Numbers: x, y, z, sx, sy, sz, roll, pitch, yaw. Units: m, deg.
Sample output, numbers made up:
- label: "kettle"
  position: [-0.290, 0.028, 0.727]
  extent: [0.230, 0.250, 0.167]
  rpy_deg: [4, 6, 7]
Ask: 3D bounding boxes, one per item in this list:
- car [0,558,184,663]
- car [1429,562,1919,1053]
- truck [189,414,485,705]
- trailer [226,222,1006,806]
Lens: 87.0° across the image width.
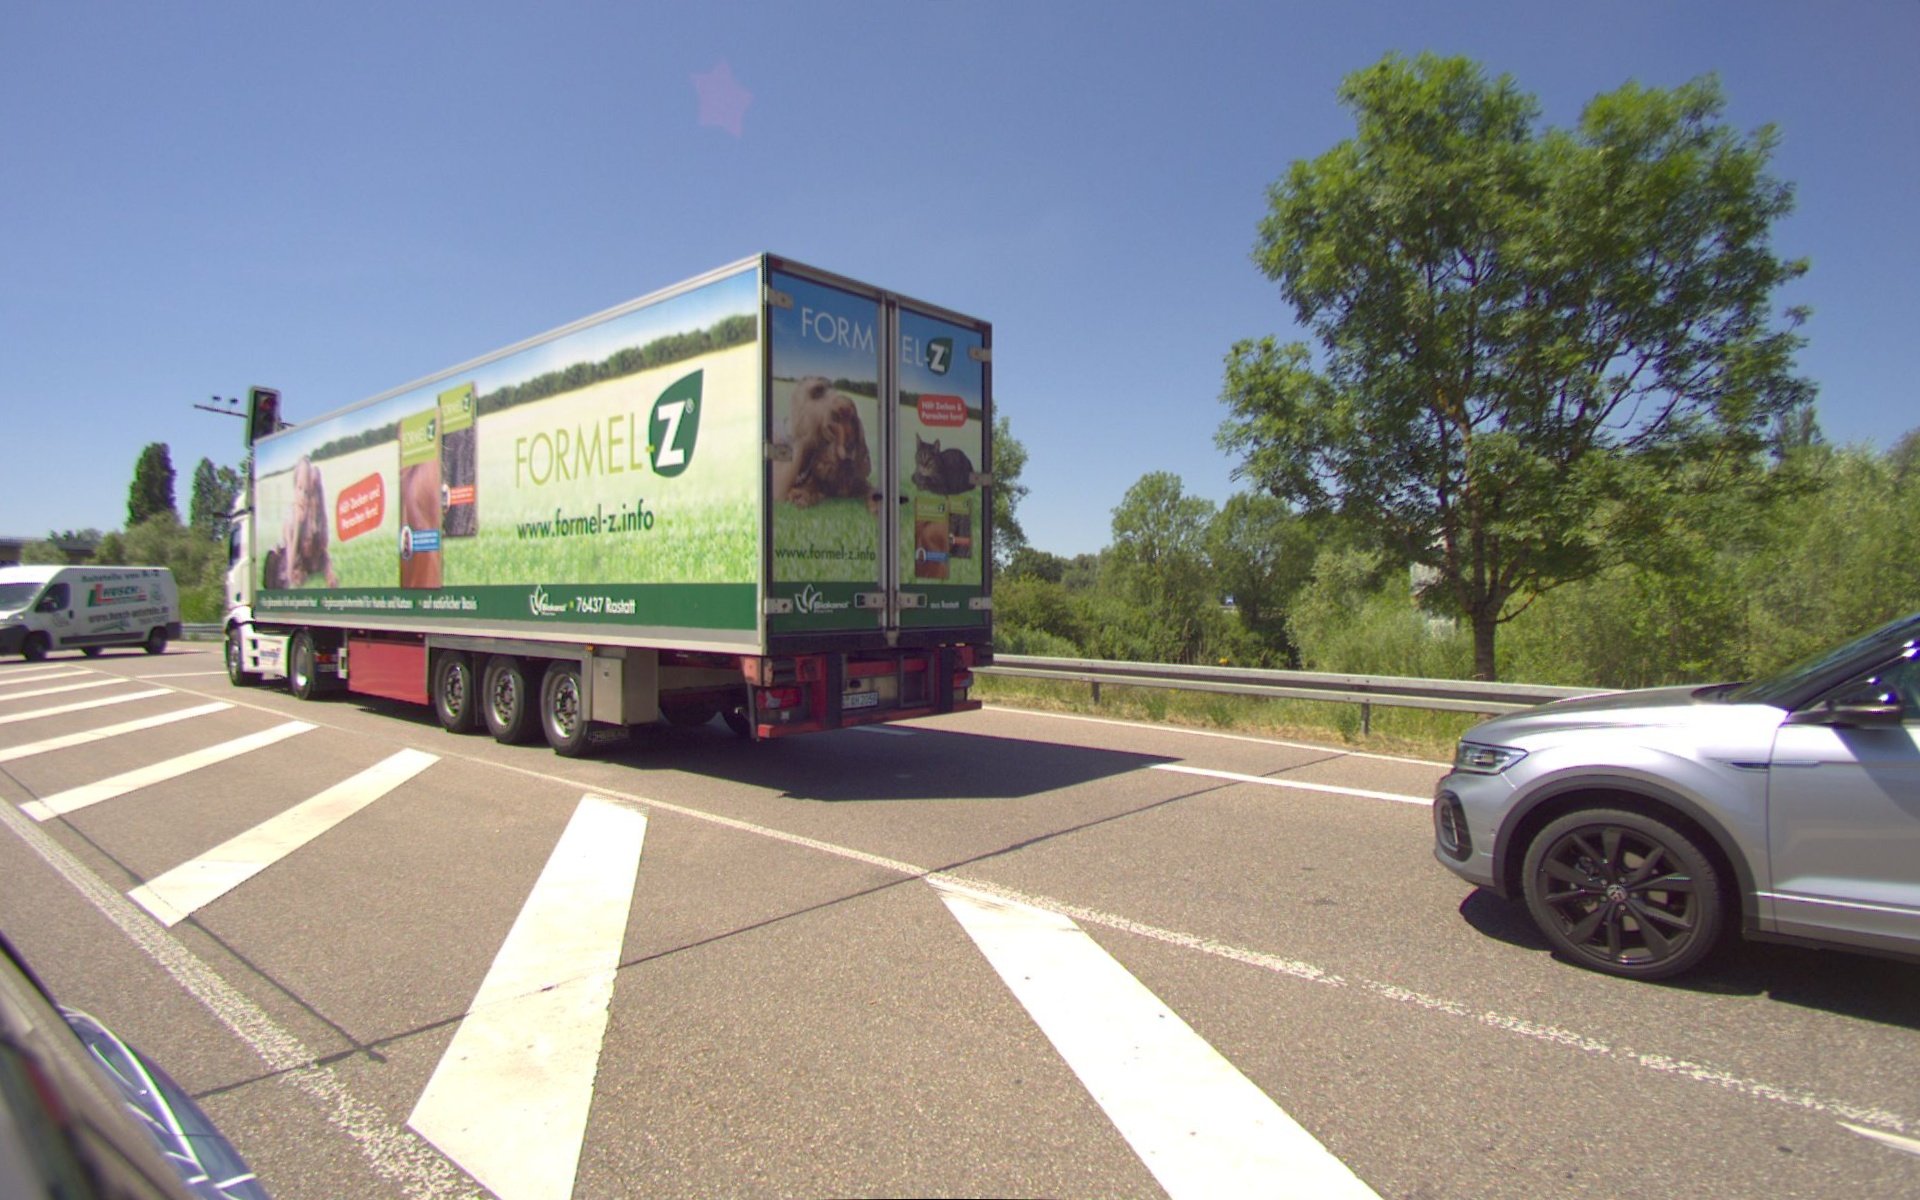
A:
- label: "car"
  position: [-24.054, 0.267, 27.000]
  extent: [2.198, 2.514, 5.983]
  rpy_deg: [-1, 0, -1]
- label: "car"
  position: [4.068, 0.664, 3.482]
  extent: [4.153, 1.573, 1.694]
  rpy_deg: [0, -1, 42]
- label: "truck"
  position: [-10.669, -0.579, 17.112]
  extent: [5.823, 4.075, 2.661]
  rpy_deg: [0, 0, 41]
- label: "trailer"
  position: [-5.747, -0.598, 12.758]
  extent: [14.119, 4.075, 2.661]
  rpy_deg: [0, 0, 42]
